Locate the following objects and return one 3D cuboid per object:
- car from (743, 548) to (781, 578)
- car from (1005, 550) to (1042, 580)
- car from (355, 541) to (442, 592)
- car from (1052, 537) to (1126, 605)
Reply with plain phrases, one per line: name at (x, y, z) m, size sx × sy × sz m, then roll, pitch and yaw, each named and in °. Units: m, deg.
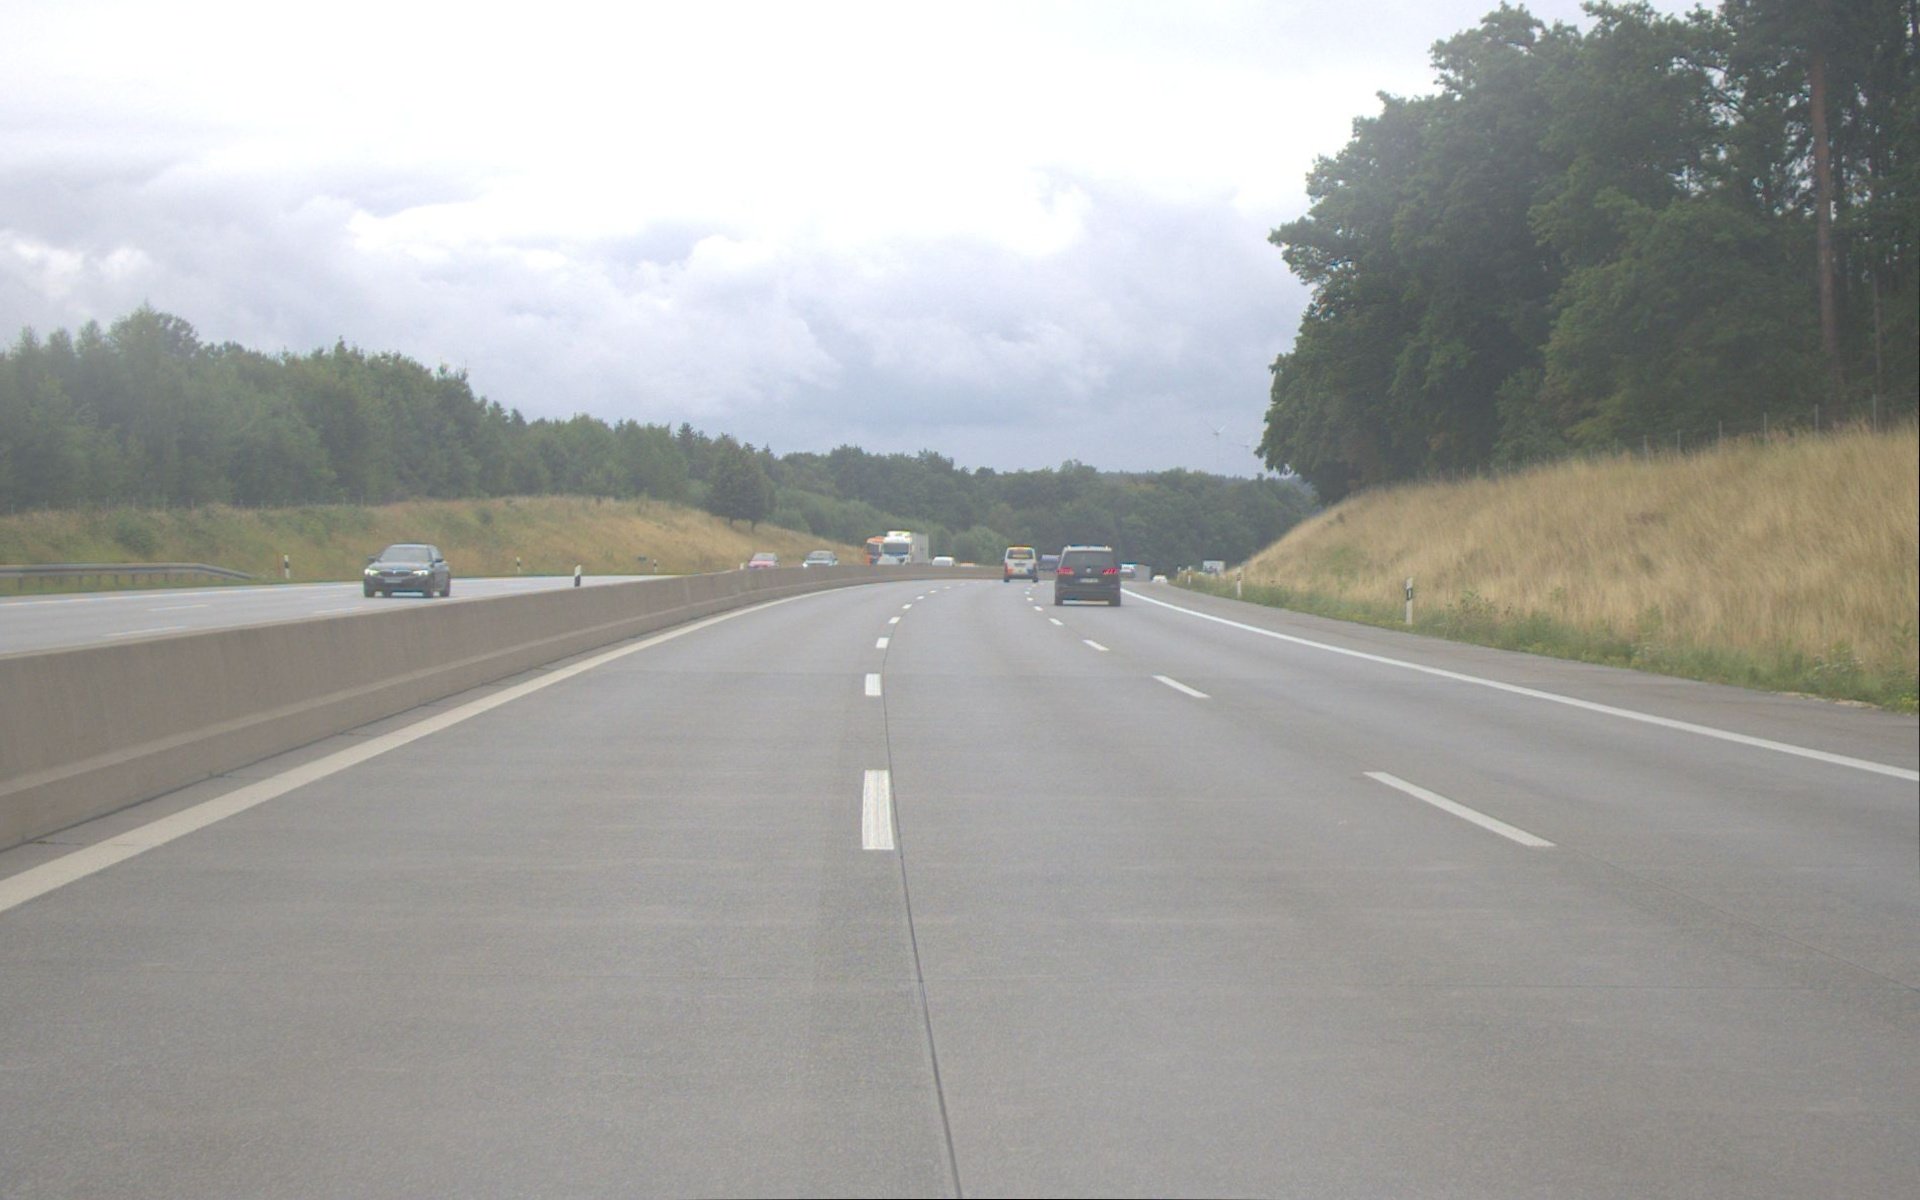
car at (-11.799, -2.236, 205.491) m, size 1.950 × 1.612 × 4.001 m, roll -2°, pitch 2°, yaw 0°
car at (3.568, -1.971, 192.696) m, size 1.841 × 1.495 × 4.001 m, roll -2°, pitch 2°, yaw -1°
car at (-15.194, -0.925, 93.196) m, size 1.767 × 1.228 × 3.955 m, roll 2°, pitch 2°, yaw -1°
car at (3.644, -0.842, 97.785) m, size 1.785 × 1.741 × 3.916 m, roll -2°, pitch 2°, yaw -2°
